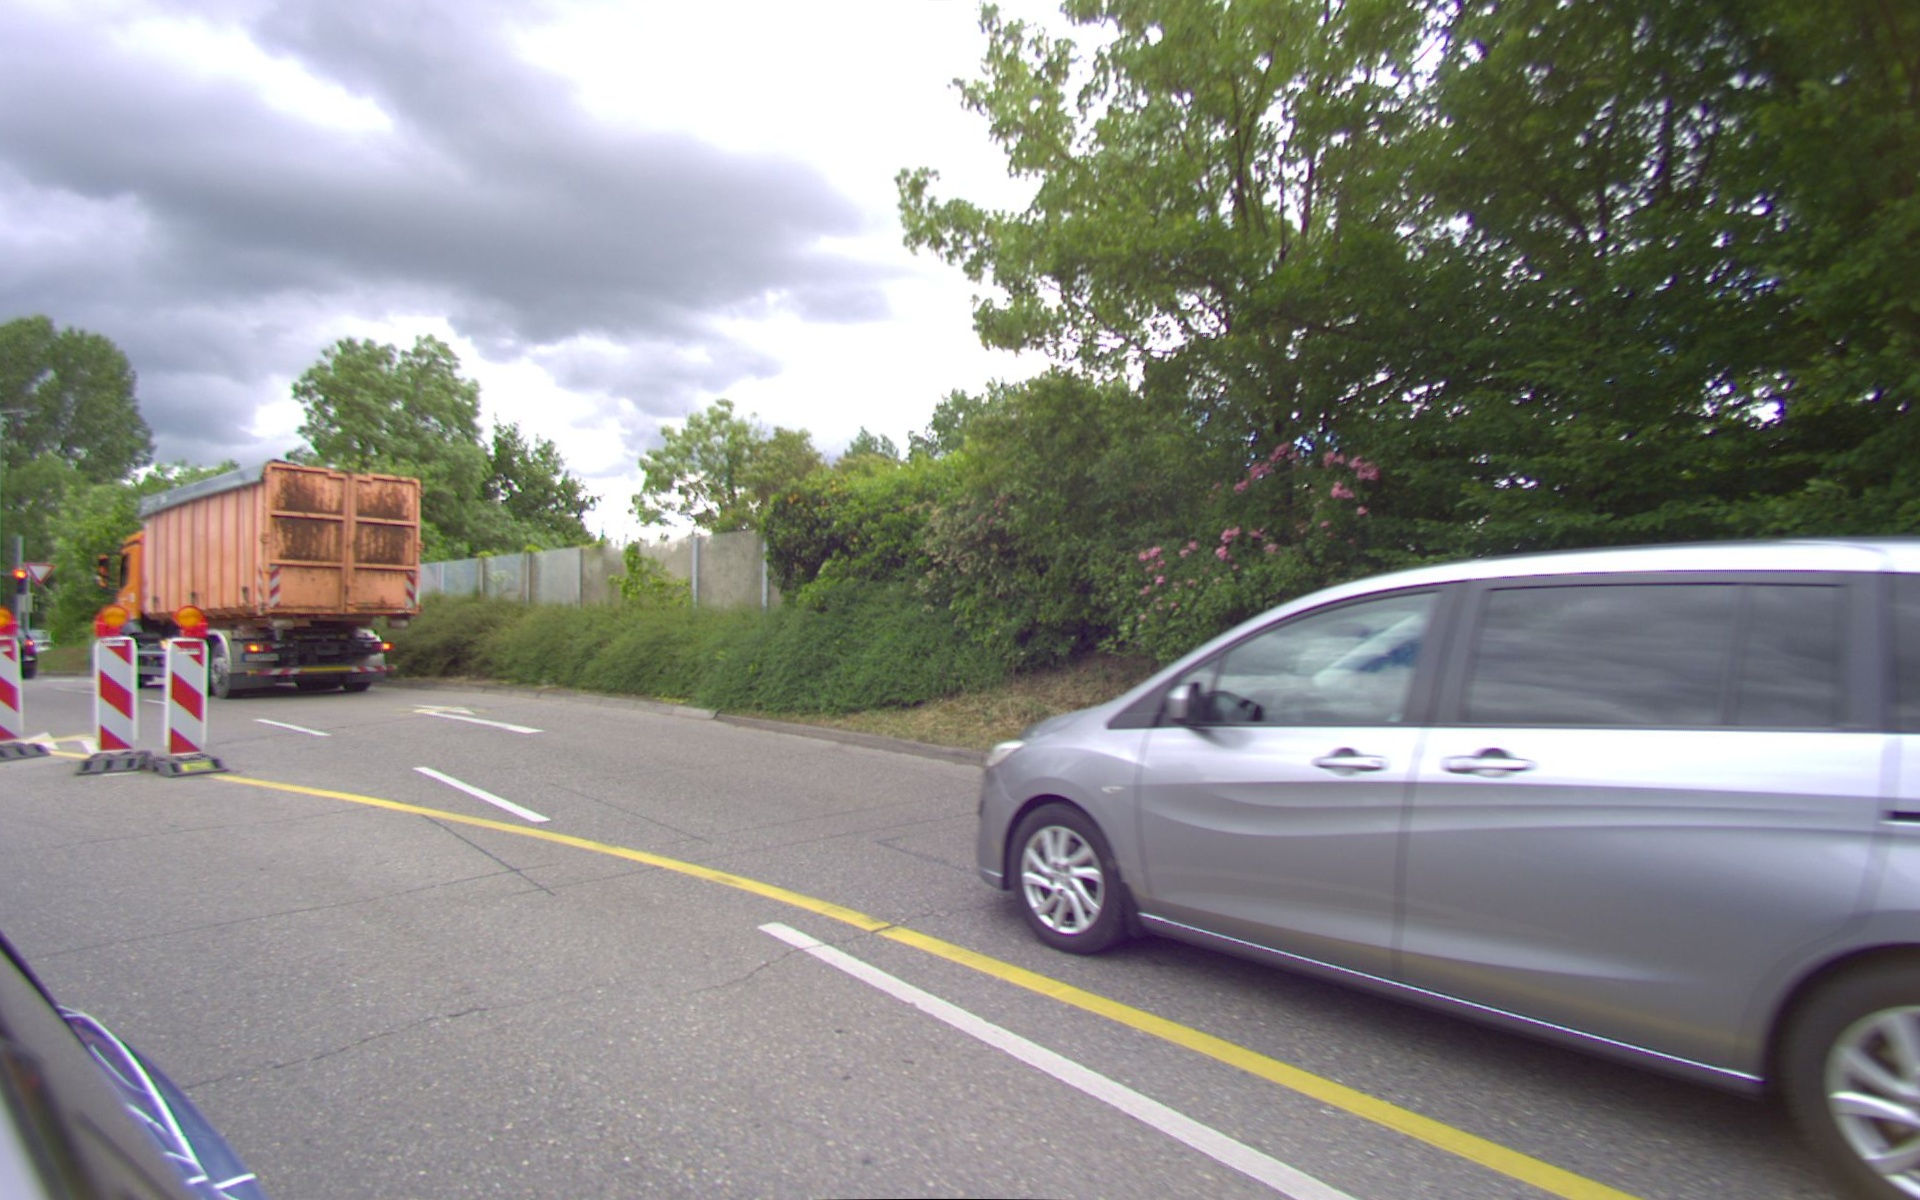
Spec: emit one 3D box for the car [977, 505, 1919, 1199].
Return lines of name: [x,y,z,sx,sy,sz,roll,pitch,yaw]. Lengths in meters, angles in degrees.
car: [2.076,0.578,3.419,1.611,1.556,4.359,-1,0,-39]

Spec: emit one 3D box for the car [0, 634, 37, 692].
car: [-27.790,1.780,28.344,3.770,1.564,1.628,-2,-4,28]

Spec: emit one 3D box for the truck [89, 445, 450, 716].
truck: [-14.034,-0.195,20.104,9.778,4.253,3.081,-2,-2,38]
